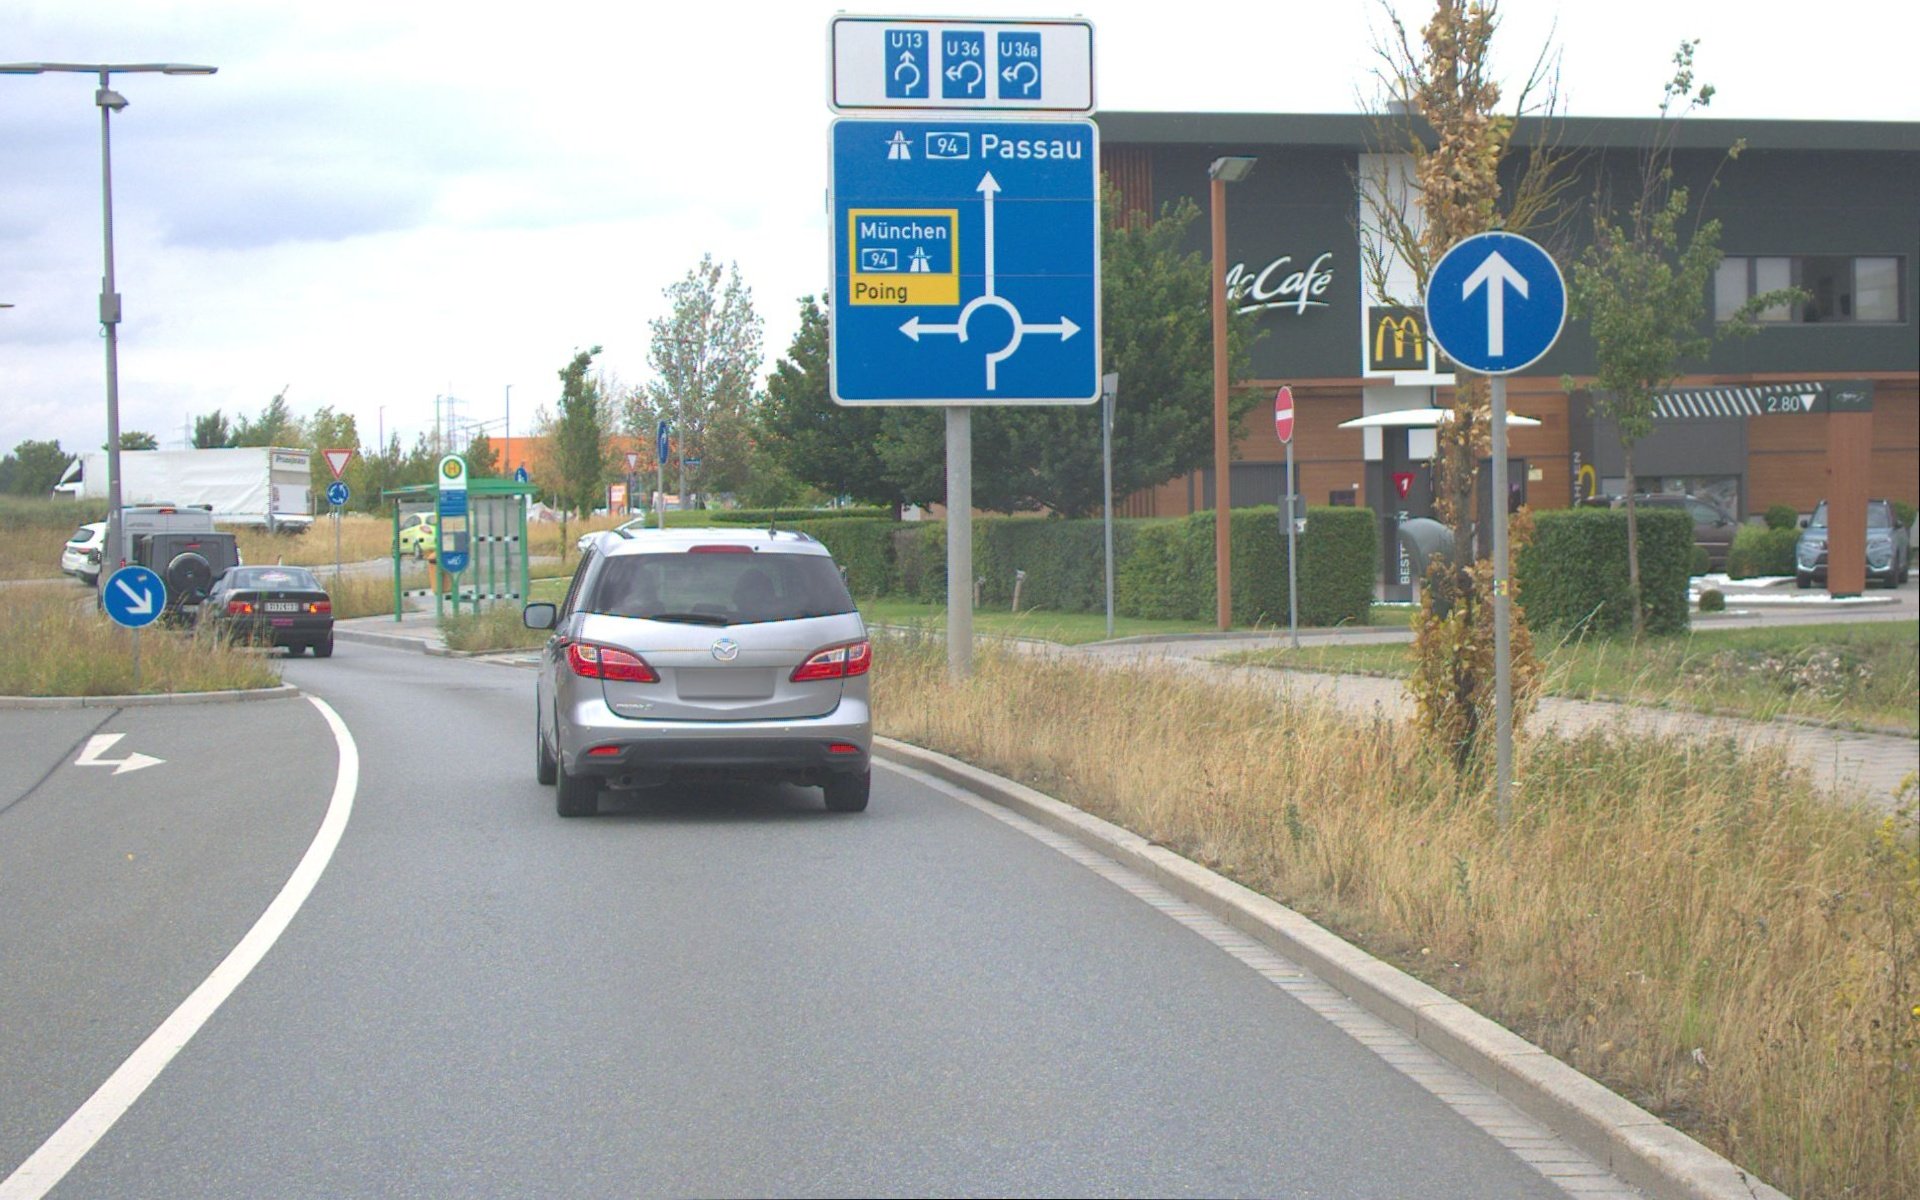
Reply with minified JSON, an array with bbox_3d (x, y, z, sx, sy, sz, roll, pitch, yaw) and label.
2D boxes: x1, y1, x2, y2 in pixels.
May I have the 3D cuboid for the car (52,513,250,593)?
[{"bbox_3d":[-21.255,-1.254,90.367,4.610,2.007,2.000,-2,1,-37],"label":"car"}]

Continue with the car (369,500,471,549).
[{"bbox_3d":[-17.362,-2.425,110.387,1.993,1.510,4.000,-2,1,-28],"label":"car"}]

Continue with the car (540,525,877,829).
[{"bbox_3d":[-1.554,0.364,20.060,1.729,1.594,3.808,0,1,-8],"label":"car"}]

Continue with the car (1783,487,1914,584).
[{"bbox_3d":[16.265,-1.188,62.807,1.995,1.711,3.996,0,1,19],"label":"car"}]

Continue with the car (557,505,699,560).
[{"bbox_3d":[-11.067,-2.258,114.359,4.601,1.751,2.001,-1,1,-7],"label":"car"}]

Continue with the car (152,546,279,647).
[{"bbox_3d":[-14.135,-0.107,65.116,2.057,1.819,4.788,-1,1,-15],"label":"car"}]

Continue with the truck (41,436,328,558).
[{"bbox_3d":[-26.370,-3.482,116.827,9.315,3.893,3.140,-1,1,22],"label":"truck"}]

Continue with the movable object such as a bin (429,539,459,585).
[{"bbox_3d":[-9.025,-0.659,60.130,0.456,0.795,0.380,-1,1,-19],"label":"movable object such as a bin"}]

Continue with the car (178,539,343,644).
[{"bbox_3d":[-10.347,-0.162,50.637,1.844,1.413,4.226,-2,2,-19],"label":"car"}]

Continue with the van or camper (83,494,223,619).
[{"bbox_3d":[-16.847,-0.934,71.580,2.302,2.497,5.207,-1,1,-19],"label":"van or camper"}]
